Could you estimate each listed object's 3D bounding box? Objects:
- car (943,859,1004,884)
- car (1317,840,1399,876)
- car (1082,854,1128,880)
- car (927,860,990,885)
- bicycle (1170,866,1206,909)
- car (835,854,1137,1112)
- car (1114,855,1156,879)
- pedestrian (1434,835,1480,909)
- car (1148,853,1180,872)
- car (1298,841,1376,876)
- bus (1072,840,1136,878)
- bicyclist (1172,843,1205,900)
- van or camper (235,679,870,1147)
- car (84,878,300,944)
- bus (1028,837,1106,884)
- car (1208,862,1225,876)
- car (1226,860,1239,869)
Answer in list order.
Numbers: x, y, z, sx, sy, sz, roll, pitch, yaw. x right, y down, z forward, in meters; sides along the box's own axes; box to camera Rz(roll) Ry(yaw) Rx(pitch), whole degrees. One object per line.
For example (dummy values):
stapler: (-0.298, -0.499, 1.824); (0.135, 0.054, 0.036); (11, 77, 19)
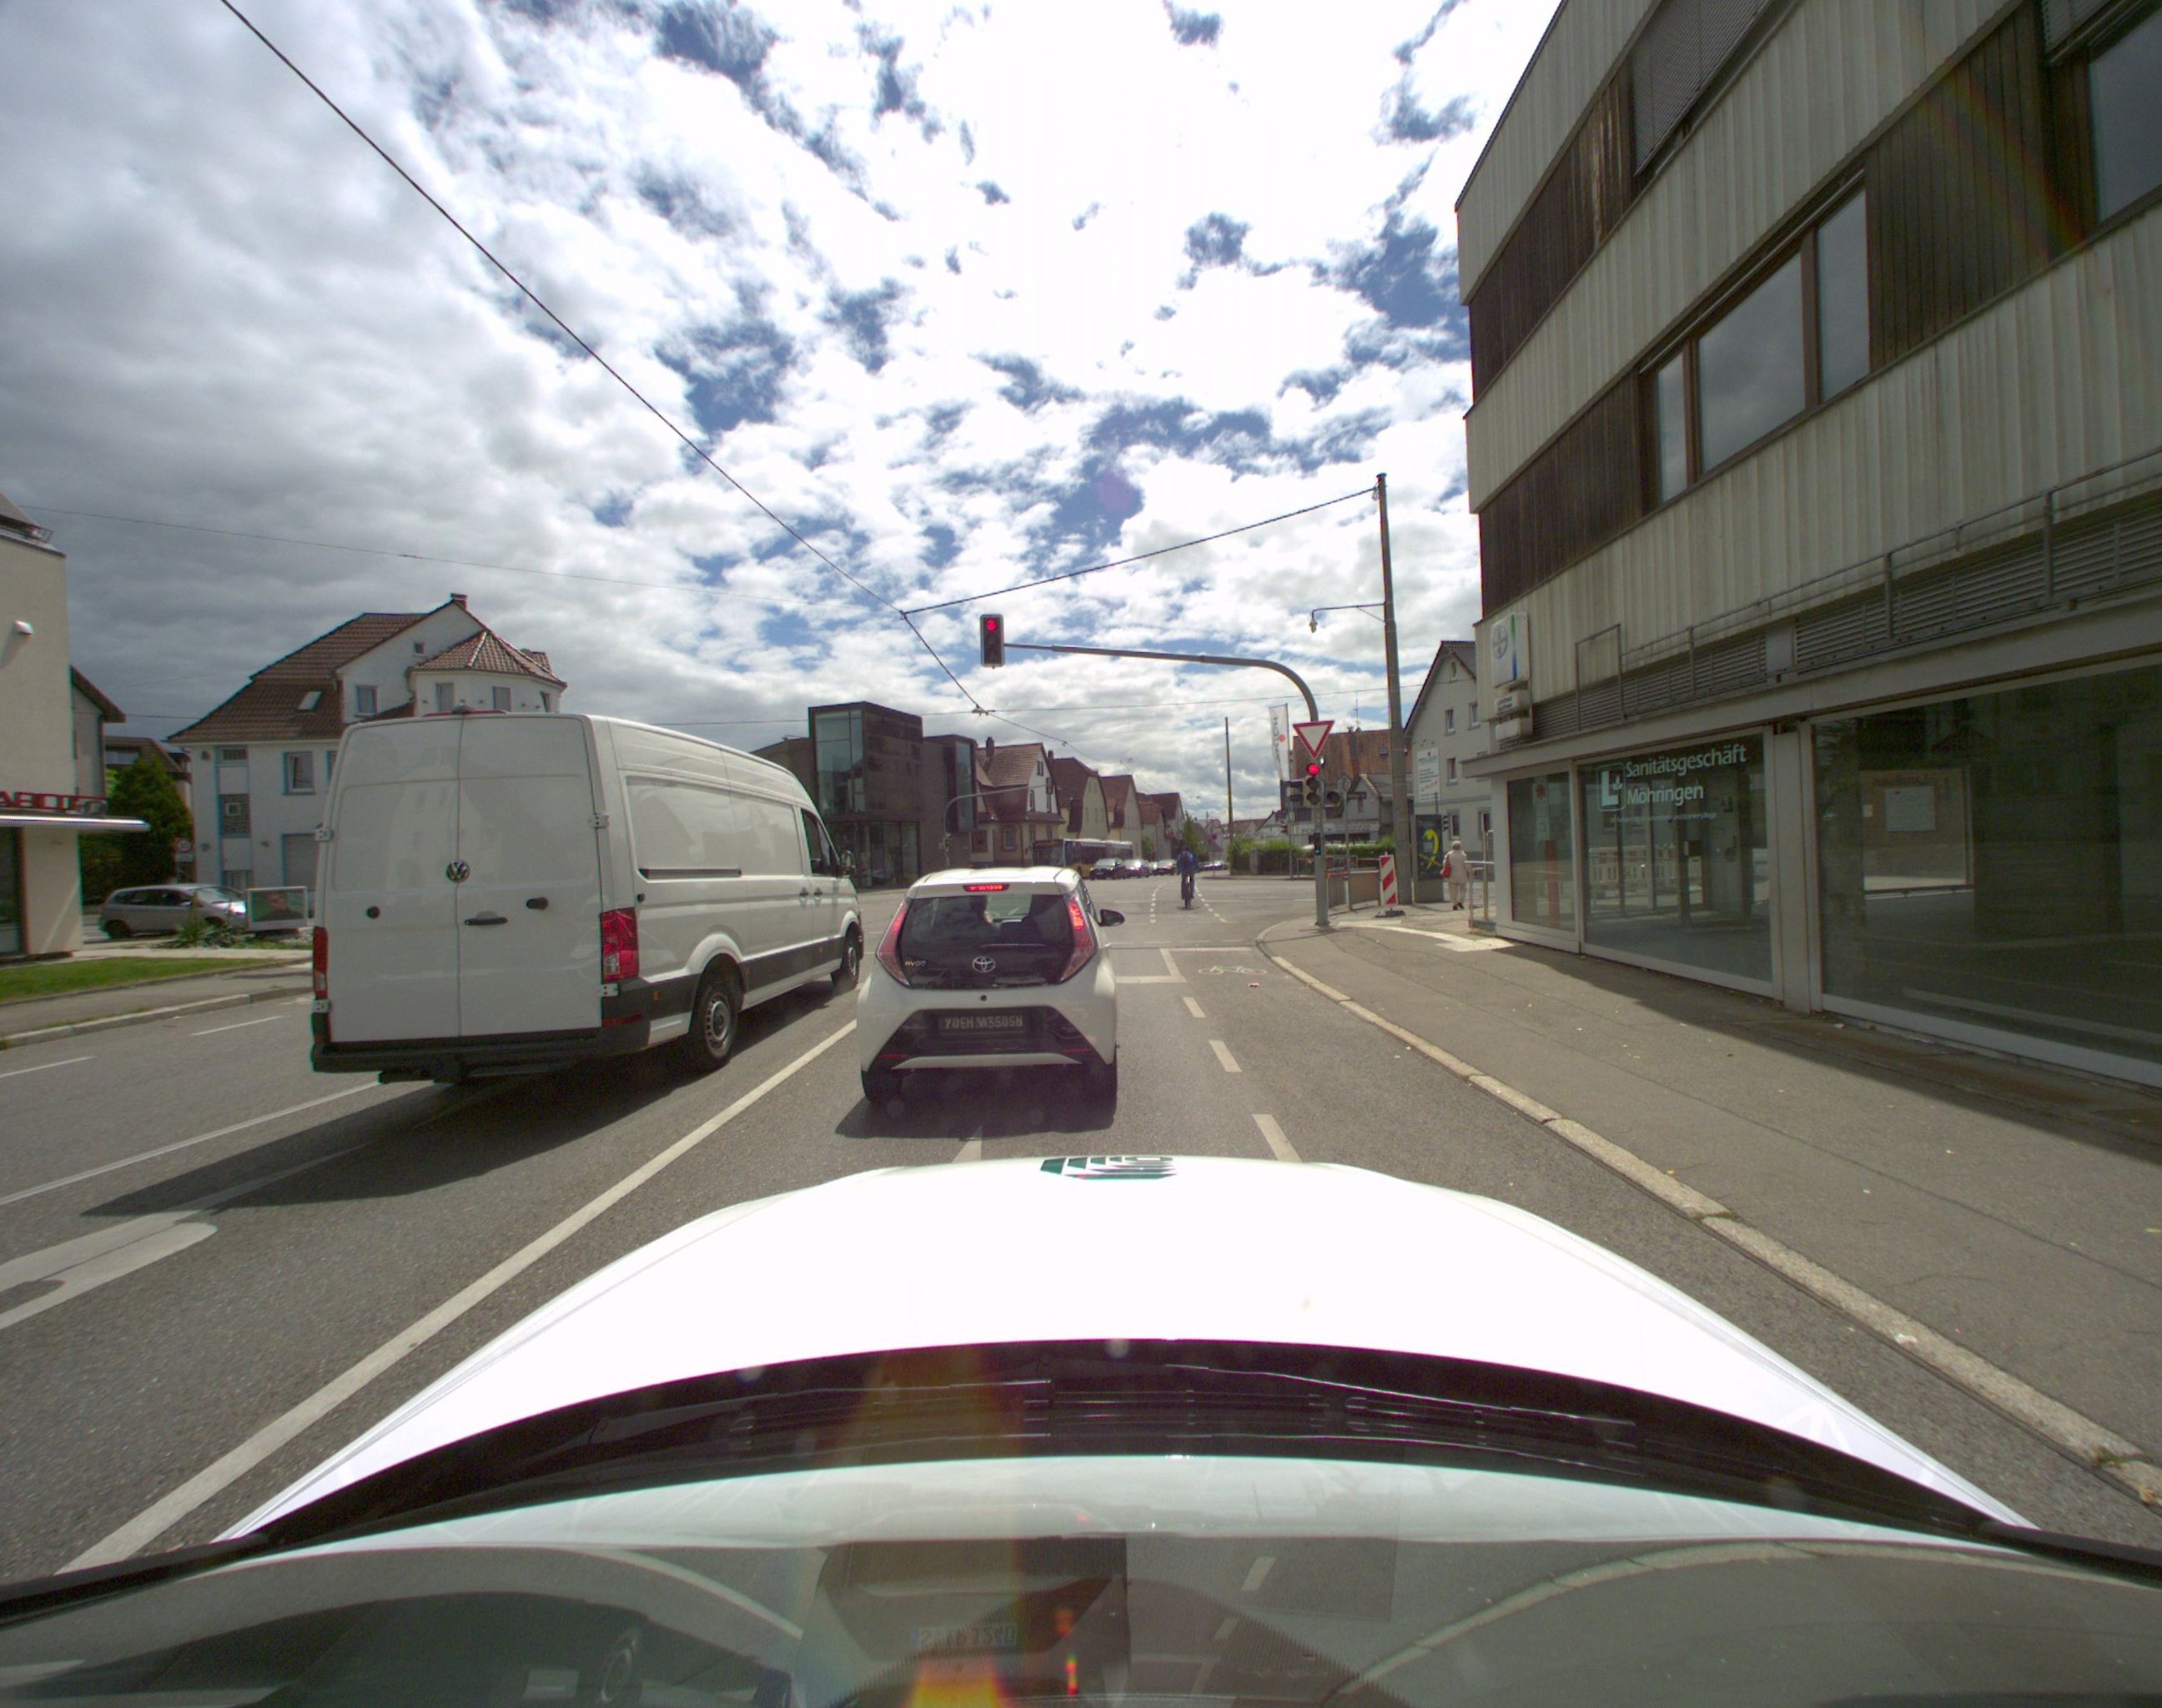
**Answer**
car: (-7.979, 1.279, 60.628); (3.957, 1.684, 2.008); (-2, 0, 15)
car: (15.845, 0.222, 46.693); (3.984, 1.948, 1.995); (-1, -1, -8)
car: (1.675, 0.859, 55.371); (1.977, 1.640, 4.020); (-1, 0, 19)
car: (-8.672, 1.284, 57.767); (3.958, 1.640, 2.008); (1, 0, 15)
bicycle: (3.098, 0.942, 23.758); (0.829, 1.164, 2.192); (0, 0, 2)
car: (-0.562, 0.753, 6.563); (1.733, 1.460, 3.531); (-2, 0, 0)
car: (4.054, 0.942, 60.484); (1.977, 1.640, 4.204); (-1, 0, 19)
pedestrian: (8.608, 0.403, 18.676); (0.827, 1.637, 0.878); (-2, 0, 18)
car: (7.438, 0.760, 72.838); (1.977, 1.640, 4.020); (-1, 0, 19)
car: (15.428, 0.252, 49.147); (3.983, 2.013, 1.995); (-1, 0, -7)
bus: (2.074, 0.344, 67.233); (2.756, 2.914, 9.233); (-1, 0, 17)
bicyclist: (3.113, 0.497, 23.672); (0.837, 1.614, 1.083); (1, 0, 1)
van or camper: (-3.773, 0.329, 7.524); (2.101, 2.586, 5.643); (-3, 0, -1)
car: (-26.346, 1.650, 24.291); (3.981, 1.684, 1.996); (-2, 0, -6)
bus: (-0.796, 0.382, 58.267); (2.756, 3.060, 9.233); (-1, 0, 17)
car: (19.415, 2.133, 116.672); (1.979, 2.013, 4.016); (-1, 0, 15)
car: (30.213, 2.131, 161.999); (1.977, 1.640, 4.020); (-1, 0, 19)
